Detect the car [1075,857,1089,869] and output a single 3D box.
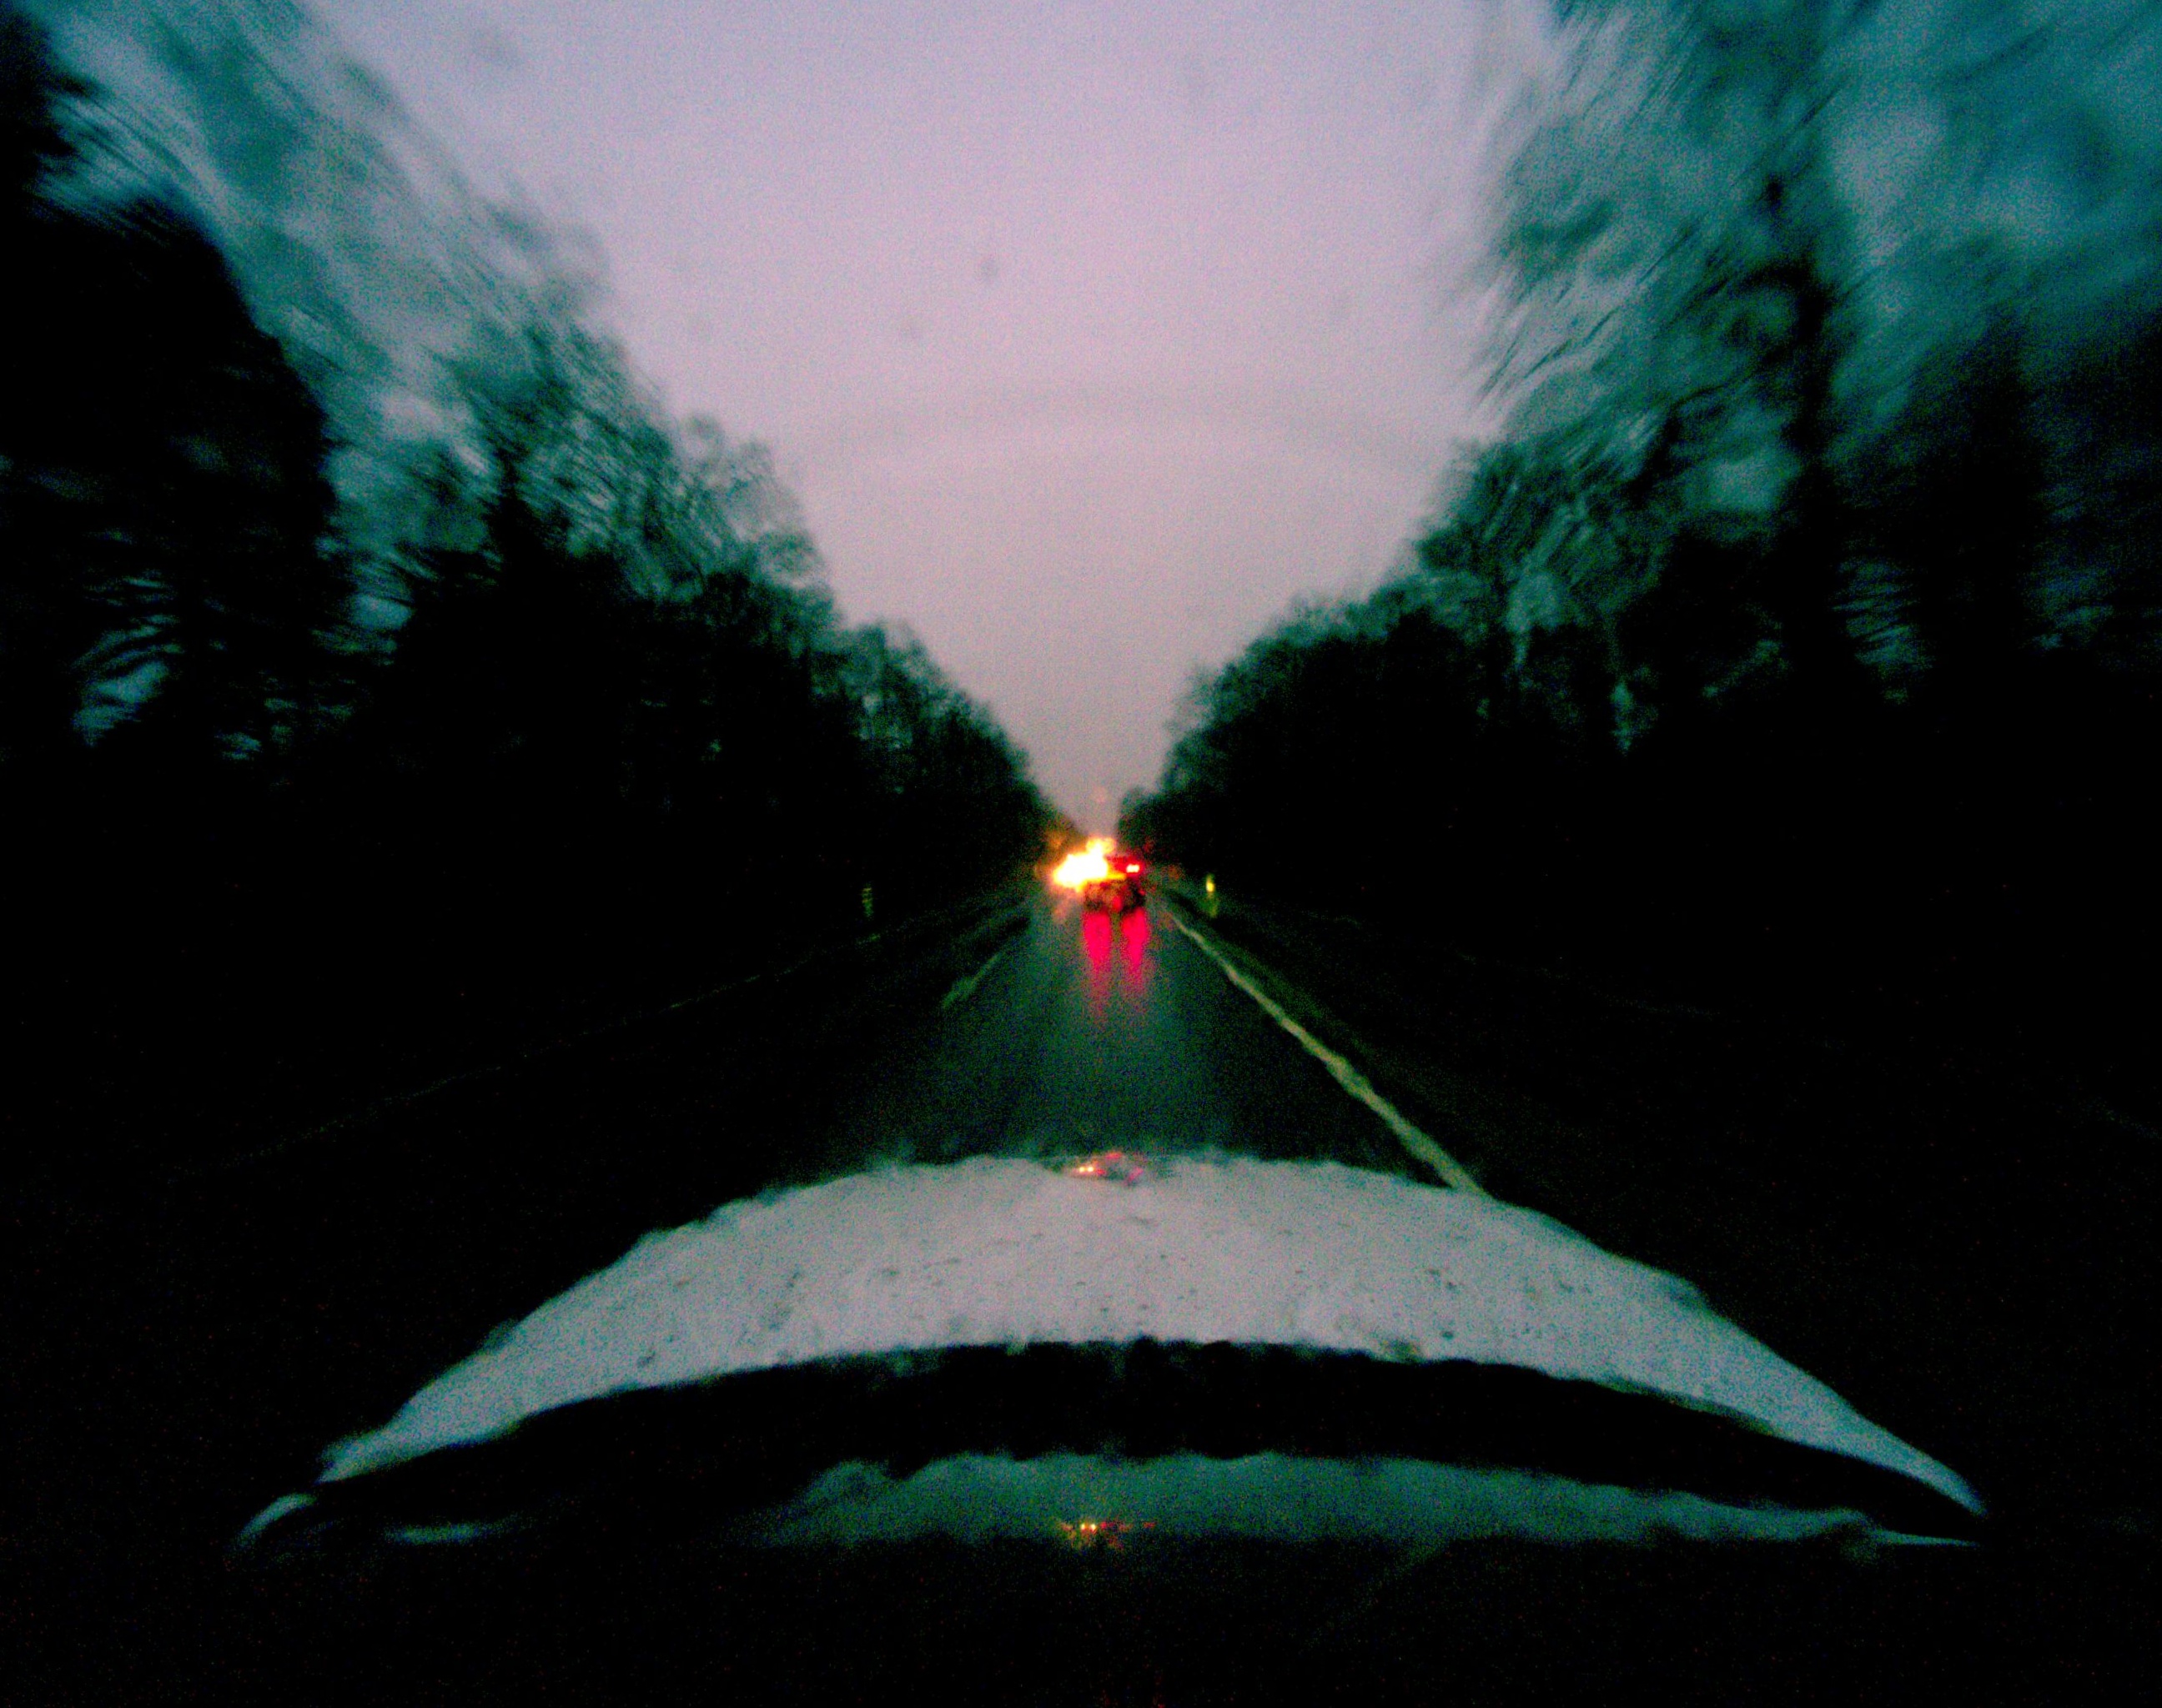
[{"bbox_3d":[0.113,1.278,115.619,1.792,1.461,4.179,-3,0,2],"label":"car"}]
